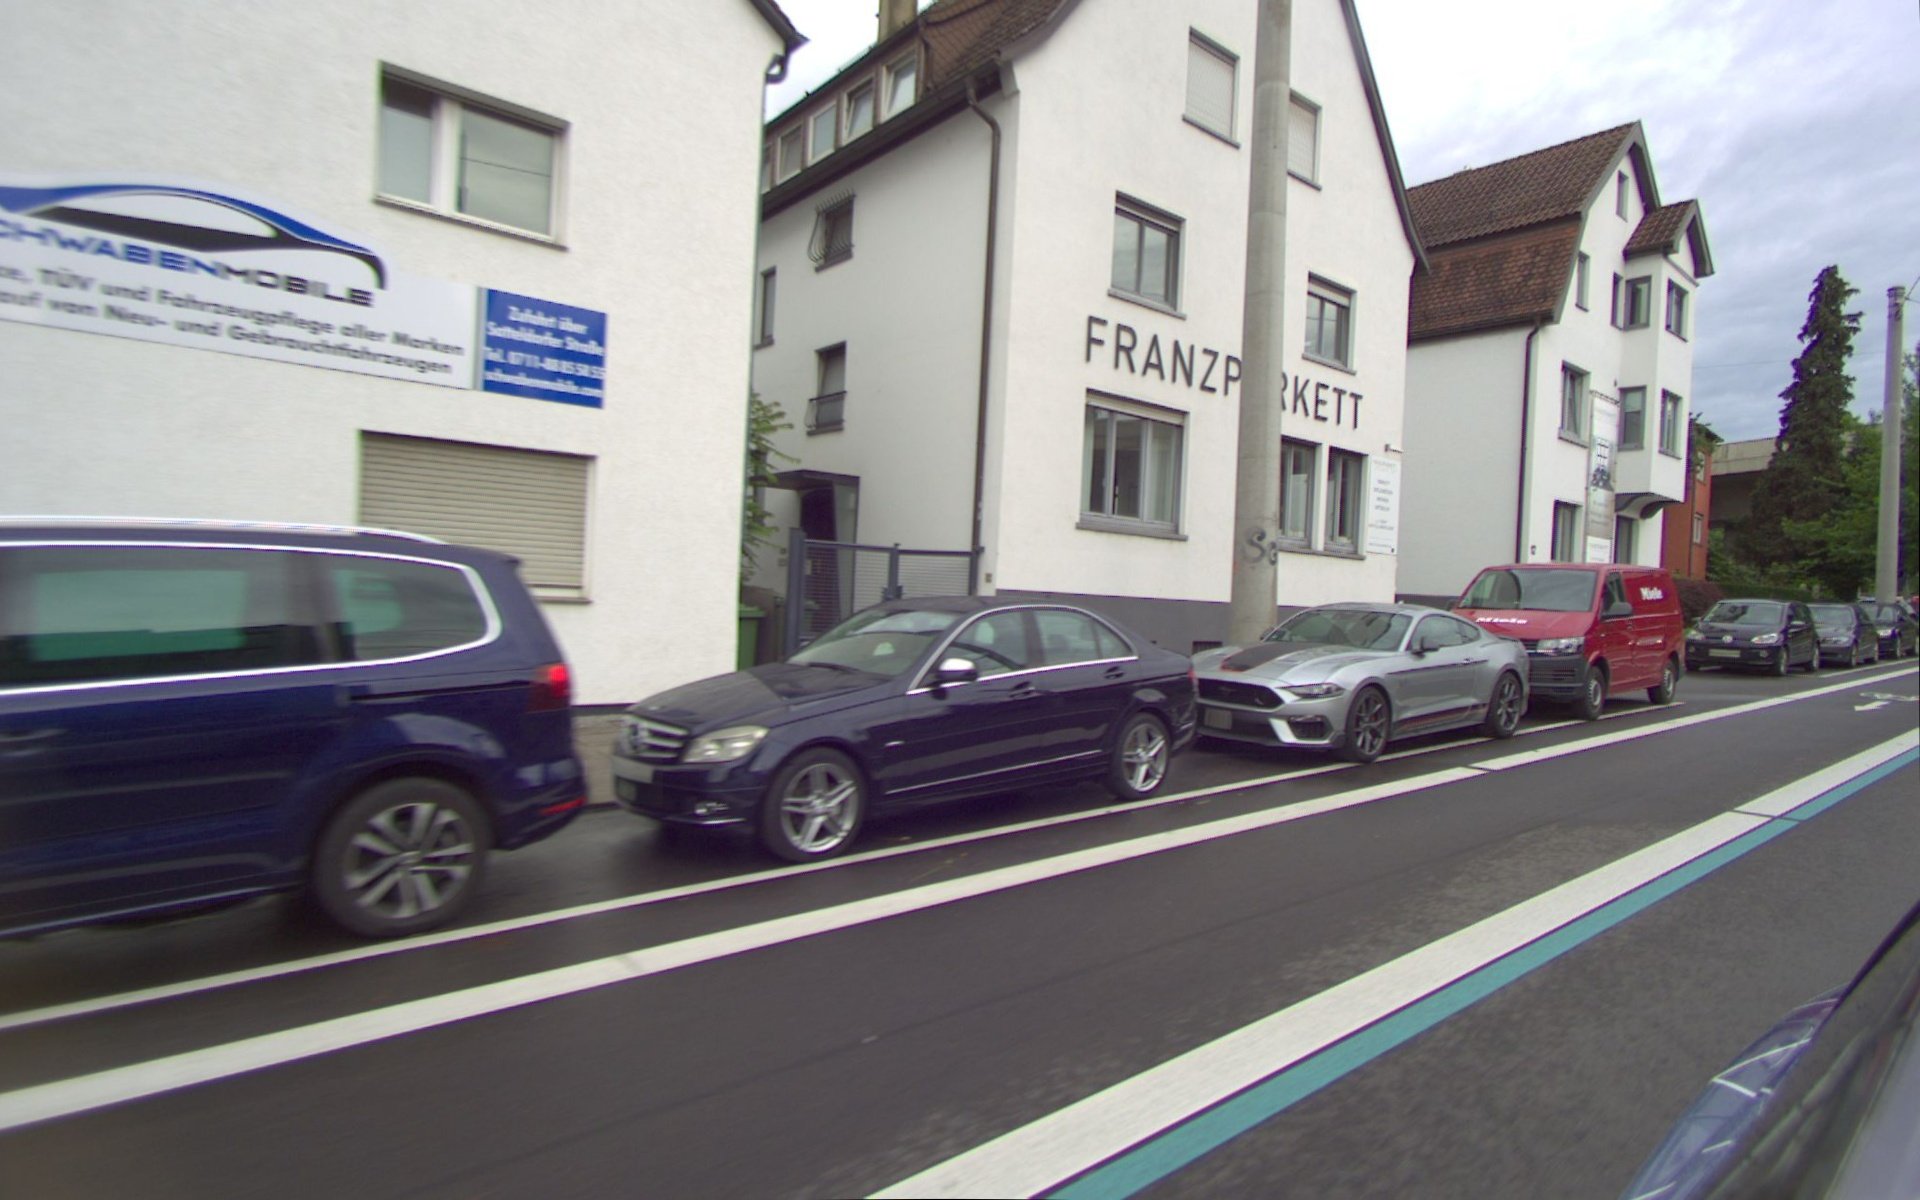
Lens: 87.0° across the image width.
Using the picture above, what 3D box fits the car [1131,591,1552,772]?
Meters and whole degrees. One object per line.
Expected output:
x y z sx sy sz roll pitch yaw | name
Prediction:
3.963 0.641 10.128 4.584 1.393 1.801 0 1 -38 | car

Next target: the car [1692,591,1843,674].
16.575 0.593 20.723 3.652 1.469 1.582 -1 3 -38 | car

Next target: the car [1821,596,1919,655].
24.732 0.635 27.149 4.482 1.441 1.681 0 1 -39 | car

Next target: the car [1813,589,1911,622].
49.271 0.274 55.314 3.940 1.651 1.971 2 0 -11 | car

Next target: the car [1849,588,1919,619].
48.839 0.186 52.800 3.658 1.541 1.806 2 0 -11 | car

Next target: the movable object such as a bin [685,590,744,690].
-2.881 0.457 11.863 0.504 1.118 0.447 0 2 -43 | movable object such as a bin

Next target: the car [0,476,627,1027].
-3.898 0.501 3.946 4.603 1.823 1.842 0 0 -41 | car

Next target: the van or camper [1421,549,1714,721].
8.386 0.362 13.765 4.905 1.944 1.855 0 2 -40 | van or camper

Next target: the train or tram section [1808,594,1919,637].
94.491 1.450 104.423 2.836 4.021 19.240 0 0 15 | train or tram section

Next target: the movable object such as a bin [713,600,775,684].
-2.428 0.461 11.379 0.504 0.890 0.447 0 2 -43 | movable object such as a bin

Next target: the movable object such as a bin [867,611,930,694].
-0.712 0.589 11.649 0.440 0.890 0.588 0 2 -41 | movable object such as a bin

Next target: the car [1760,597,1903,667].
20.286 0.665 23.495 4.482 1.430 1.716 0 2 -39 | car

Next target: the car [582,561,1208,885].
-0.224 0.594 6.829 4.062 1.558 1.637 0 0 -41 | car

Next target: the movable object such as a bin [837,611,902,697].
-1.013 0.590 11.303 0.440 0.890 0.588 0 2 -41 | movable object such as a bin
